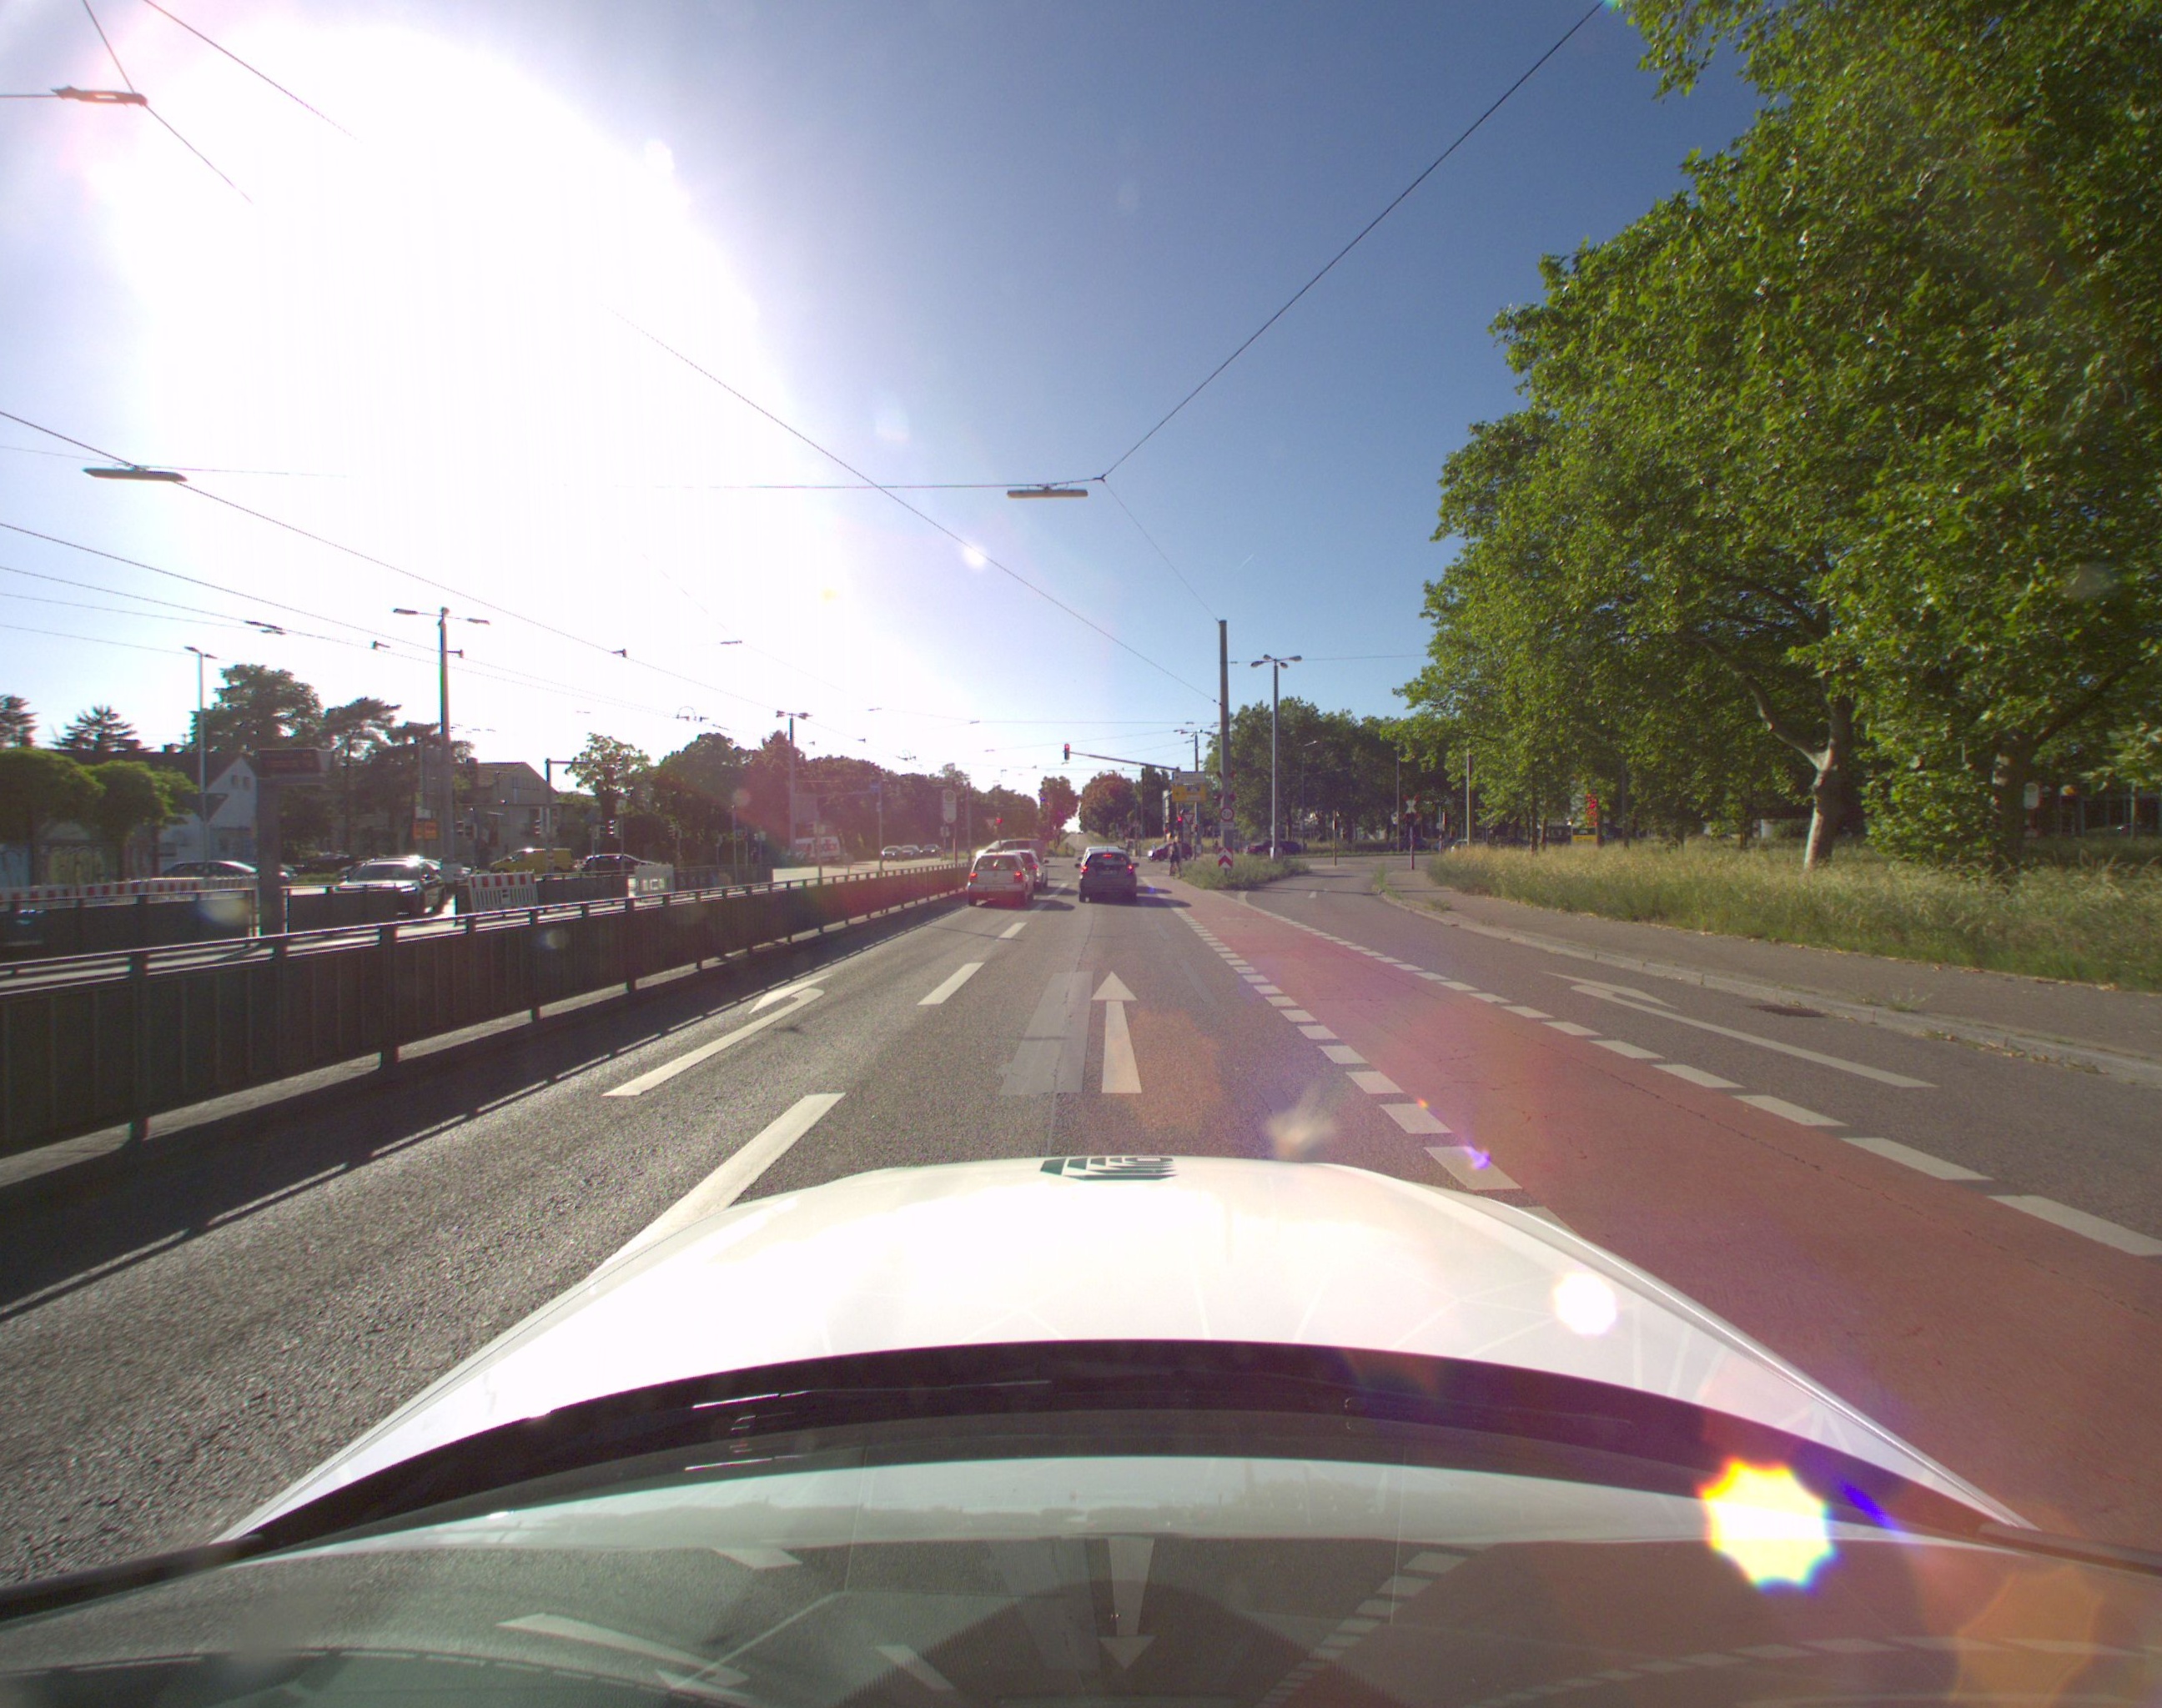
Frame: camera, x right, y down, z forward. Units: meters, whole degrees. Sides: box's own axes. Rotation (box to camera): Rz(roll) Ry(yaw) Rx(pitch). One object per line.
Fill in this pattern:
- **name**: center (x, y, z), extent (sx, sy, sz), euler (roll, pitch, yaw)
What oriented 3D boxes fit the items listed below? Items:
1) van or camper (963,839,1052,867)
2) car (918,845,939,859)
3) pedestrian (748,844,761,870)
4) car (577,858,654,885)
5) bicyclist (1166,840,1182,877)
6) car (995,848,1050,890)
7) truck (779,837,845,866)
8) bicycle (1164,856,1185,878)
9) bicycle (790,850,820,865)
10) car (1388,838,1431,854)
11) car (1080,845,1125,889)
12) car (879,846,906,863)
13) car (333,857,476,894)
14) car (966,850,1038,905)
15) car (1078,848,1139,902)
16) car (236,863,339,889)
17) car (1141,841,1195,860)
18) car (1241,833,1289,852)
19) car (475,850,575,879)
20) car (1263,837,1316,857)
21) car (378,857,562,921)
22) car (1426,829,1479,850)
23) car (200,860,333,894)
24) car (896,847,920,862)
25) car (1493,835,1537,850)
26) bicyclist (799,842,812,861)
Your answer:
- **van or camper**: center (-5.147, -0.098, 57.577), extent (6.011, 1.828, 1.979), euler (-2, 1, -34)
- **car**: center (-17.671, -0.235, 94.788), extent (1.991, 1.604, 4.746), euler (0, 1, -6)
- **pedestrian**: center (-25.612, 0.258, 63.807), extent (0.748, 2.013, 0.789), euler (-1, 0, -10)
- **car**: center (-26.792, 0.986, 46.951), extent (3.682, 1.378, 1.515), euler (-1, 0, -25)
- **bicyclist**: center (4.373, 0.188, 38.261), extent (0.663, 1.716, 0.948), euler (0, 0, 1)
- **car**: center (-2.100, 0.504, 30.158), extent (1.613, 1.457, 4.086), euler (0, 0, 2)
- **truck**: center (-25.079, -0.285, 76.191), extent (1.977, 2.565, 6.857), euler (-1, 1, 20)
- **bicycle**: center (4.372, 0.594, 38.342), extent (0.719, 0.989, 2.877), euler (0, 0, 2)
- **bicycle**: center (-23.634, 0.315, 69.846), extent (2.401, 1.262, 0.813), euler (-1, 0, -17)
- **car**: center (34.237, -0.823, 84.857), extent (3.999, 1.578, 1.869), euler (0, 0, -19)
- **car**: center (0.838, 0.446, 31.193), extent (1.605, 1.562, 4.290), euler (-1, 0, 2)
- **car**: center (-17.998, 0.069, 77.909), extent (1.829, 1.548, 3.994), euler (-1, 0, -5)
- **car**: center (-31.859, 0.968, 38.525), extent (4.844, 1.497, 1.771), euler (-2, 1, -25)
- **car**: center (-2.191, 0.631, 23.433), extent (1.613, 1.417, 3.352), euler (-2, 0, 2)
- **car**: center (0.754, 0.570, 24.351), extent (1.663, 1.461, 3.586), euler (-1, 1, 0)
- **car**: center (-47.144, 1.313, 48.477), extent (4.001, 1.473, 1.740), euler (0, 0, -21)
- **car**: center (6.997, -0.321, 65.263), extent (4.018, 1.402, 1.598), euler (-1, 1, -21)
- **car**: center (16.419, -1.015, 72.637), extent (4.002, 1.531, 1.594), euler (-2, 1, -21)
- **car**: center (-36.600, 0.664, 53.769), extent (5.181, 1.879, 1.983), euler (0, 0, -26)
- **car**: center (20.233, -0.620, 79.008), extent (4.705, 1.879, 1.986), euler (0, 0, -21)
- **car**: center (-16.811, 0.887, 22.716), extent (1.729, 1.520, 4.346), euler (-1, 1, 1)
- **car**: center (37.716, -1.509, 82.702), extent (4.906, 2.013, 1.986), euler (-1, 1, -21)
- **car**: center (-38.851, 1.073, 38.976), extent (4.181, 1.432, 1.580), euler (-2, 1, -25)
- **car**: center (-17.902, 0.025, 84.291), extent (1.829, 1.548, 4.278), euler (-1, 0, -5)
- **car**: center (48.220, -1.283, 90.505), extent (4.526, 1.574, 1.681), euler (-2, 1, -21)
- **bicyclist**: center (-23.614, -0.209, 69.847), extent (1.009, 1.647, 0.813), euler (-1, 0, -16)
